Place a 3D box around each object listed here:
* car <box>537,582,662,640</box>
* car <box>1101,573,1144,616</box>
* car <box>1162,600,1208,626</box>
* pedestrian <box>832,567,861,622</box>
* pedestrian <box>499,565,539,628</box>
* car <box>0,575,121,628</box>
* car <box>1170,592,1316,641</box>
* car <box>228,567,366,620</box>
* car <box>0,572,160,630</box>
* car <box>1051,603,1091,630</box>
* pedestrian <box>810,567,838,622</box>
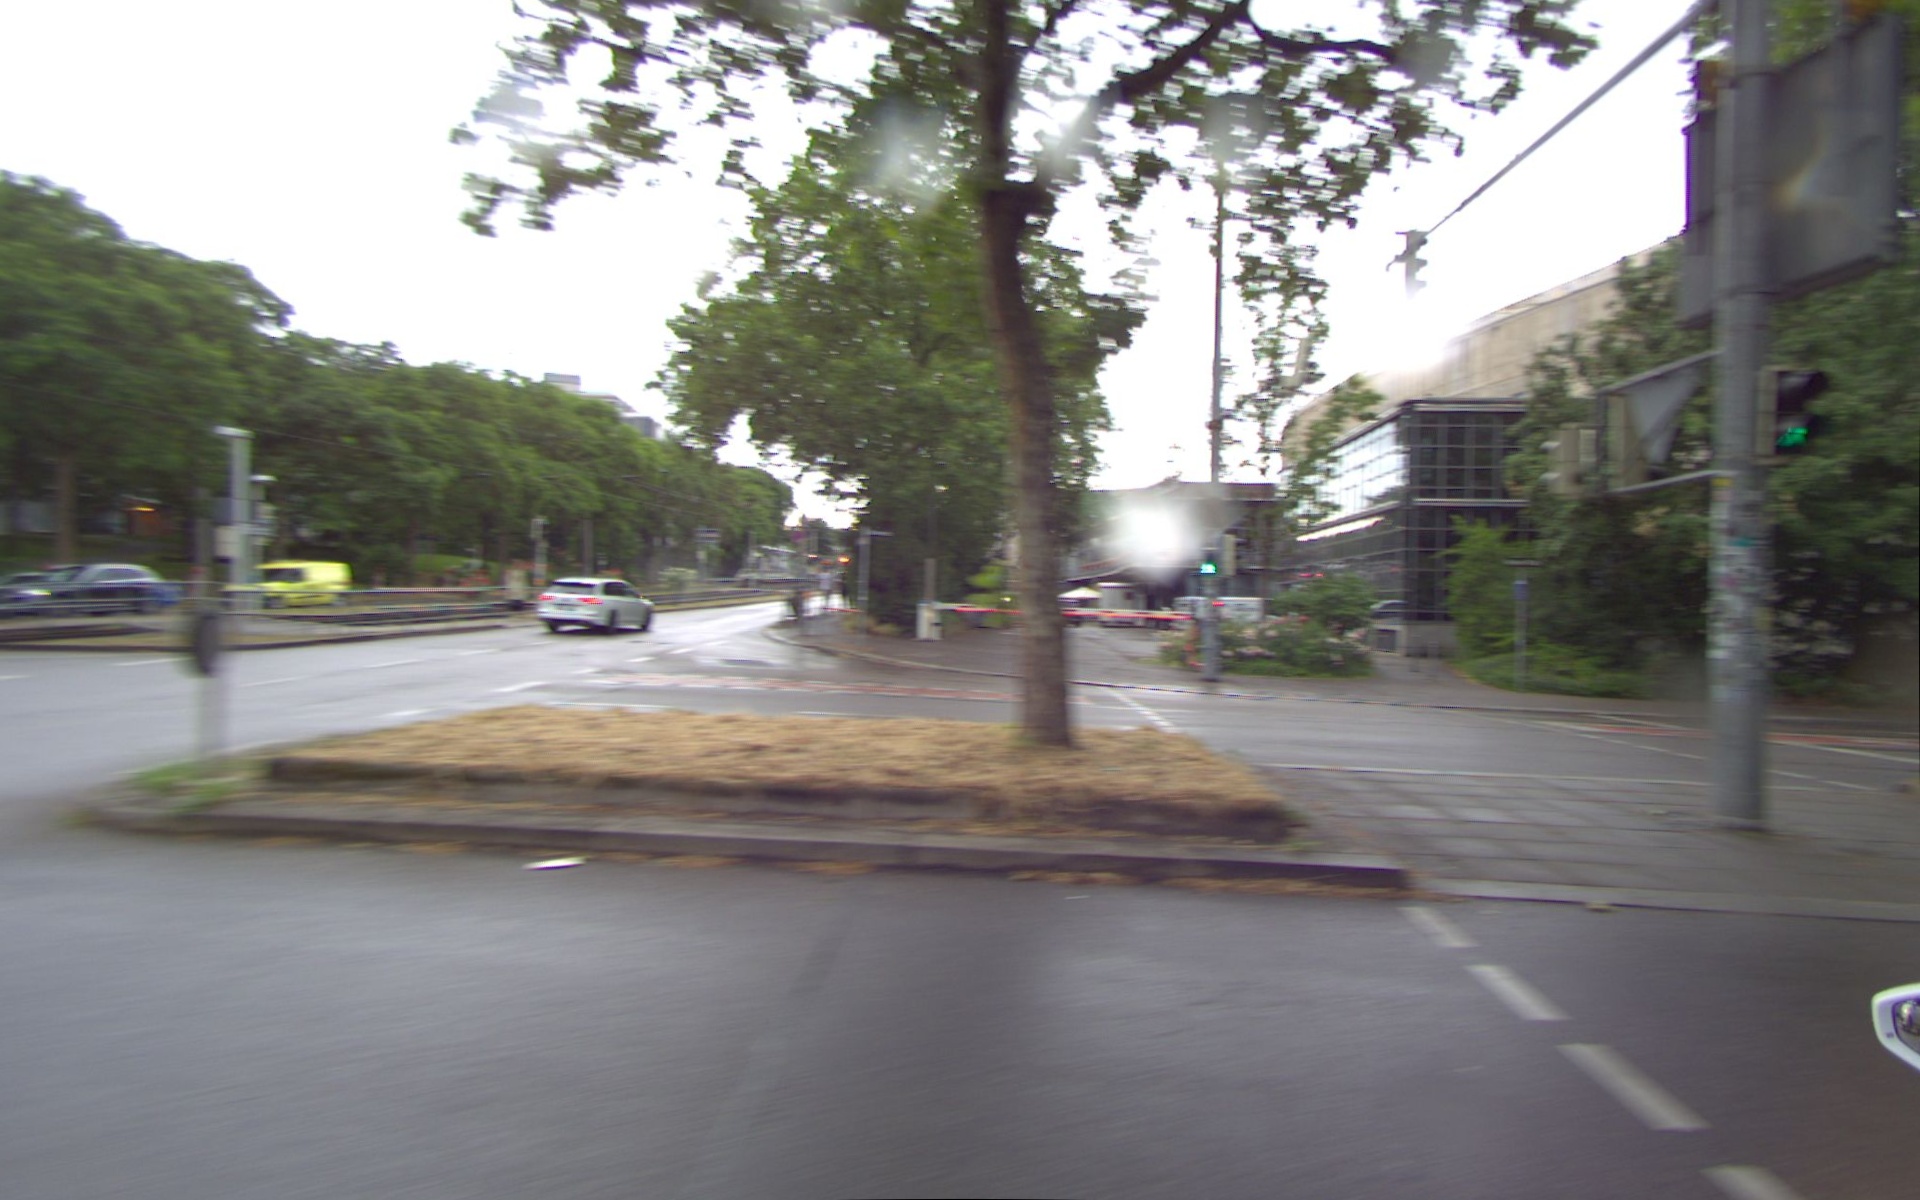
[{"bbox_3d":[-9.902,0.297,27.963,1.766,1.462,4.476,-1,0,1],"label":"car"},{"bbox_3d":[11.047,-0.424,68.771,2.685,2.731,6.925,1,1,8],"label":"car"},{"bbox_3d":[14.708,0.822,65.867,1.986,1.572,4.349,1,1,0],"label":"car"},{"bbox_3d":[-4.286,-0.194,37.934,0.859,2.041,1.078,-1,1,5],"label":"pedestrian"},{"bbox_3d":[-13.133,-0.114,29.945,0.856,1.826,0.867,1,1,-6],"label":"pedestrian"},{"bbox_3d":[-28.757,0.025,31.343,1.887,1.566,3.682,0,0,5],"label":"car"},{"bbox_3d":[10.921,0.642,38.869,5.126,1.754,1.870,1,1,-13],"label":"car"},{"bbox_3d":[-24.815,-0.238,37.837,1.887,1.875,4.568,0,0,5],"label":"car"},{"bbox_3d":[-25.760,0.016,29.218,1.887,1.566,3.682,0,0,5],"label":"car"},{"bbox_3d":[7.331,1.053,66.066,1.985,1.572,4.351,2,1,14],"label":"car"},{"bbox_3d":[-5.144,-0.226,37.976,0.801,2.041,1.078,-1,1,5],"label":"pedestrian"}]
